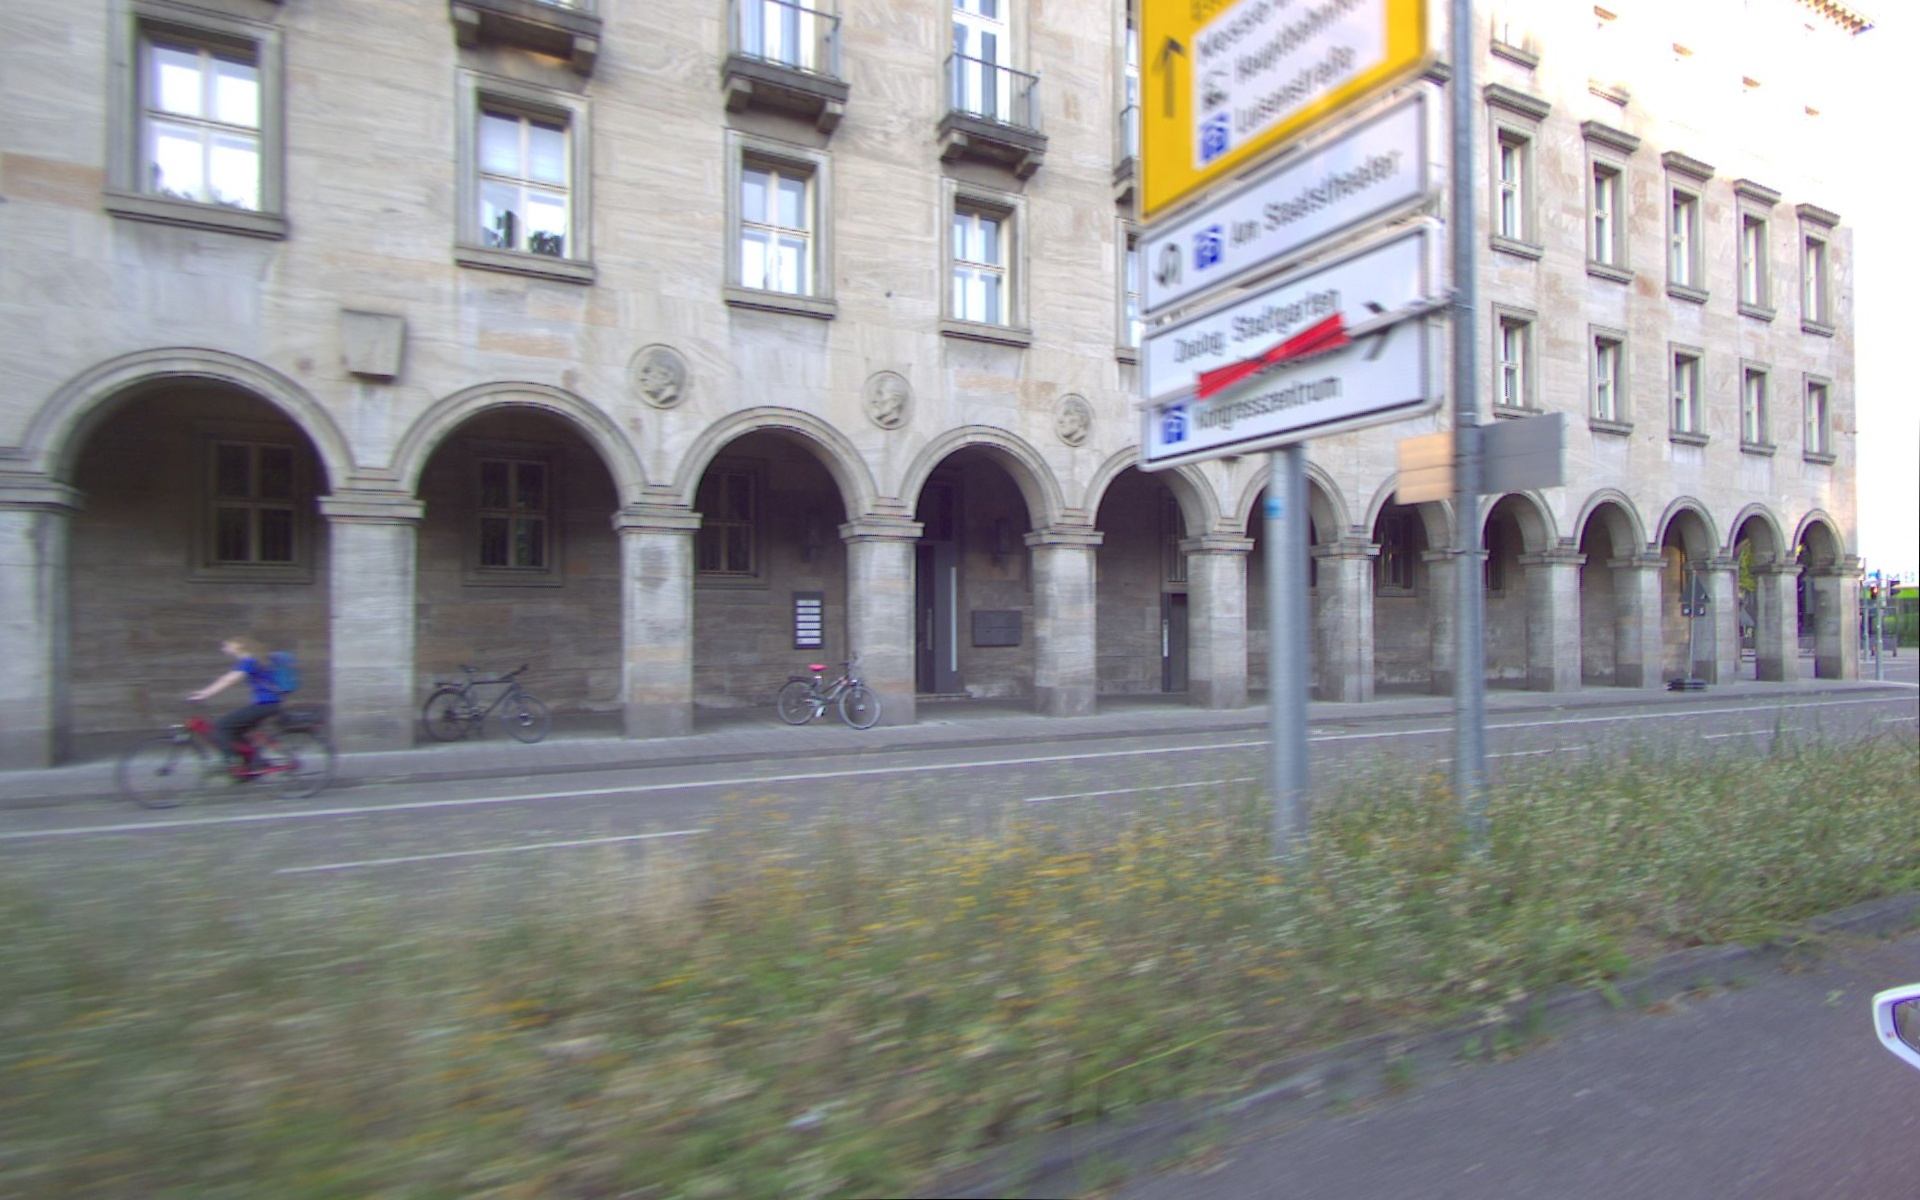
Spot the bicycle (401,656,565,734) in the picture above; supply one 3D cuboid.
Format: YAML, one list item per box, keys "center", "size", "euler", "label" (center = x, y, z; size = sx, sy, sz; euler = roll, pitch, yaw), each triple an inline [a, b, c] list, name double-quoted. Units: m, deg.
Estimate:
- center: [-6.534, 1.294, 13.821]
  size: [1.968, 1.019, 0.478]
  euler: [0, -1, -9]
  label: "bicycle"

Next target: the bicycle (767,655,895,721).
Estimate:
- center: [-2.046, 1.385, 15.966]
  size: [1.964, 1.019, 0.479]
  euler: [-1, -1, 9]
  label: "bicycle"

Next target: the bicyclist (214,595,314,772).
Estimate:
- center: [-7.008, 0.820, 10.143]
  size: [0.739, 1.715, 0.534]
  euler: [1, -2, -27]
  label: "bicyclist"

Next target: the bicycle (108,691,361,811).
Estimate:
- center: [-7.168, 1.466, 10.048]
  size: [1.979, 1.019, 0.539]
  euler: [0, -2, -28]
  label: "bicycle"
